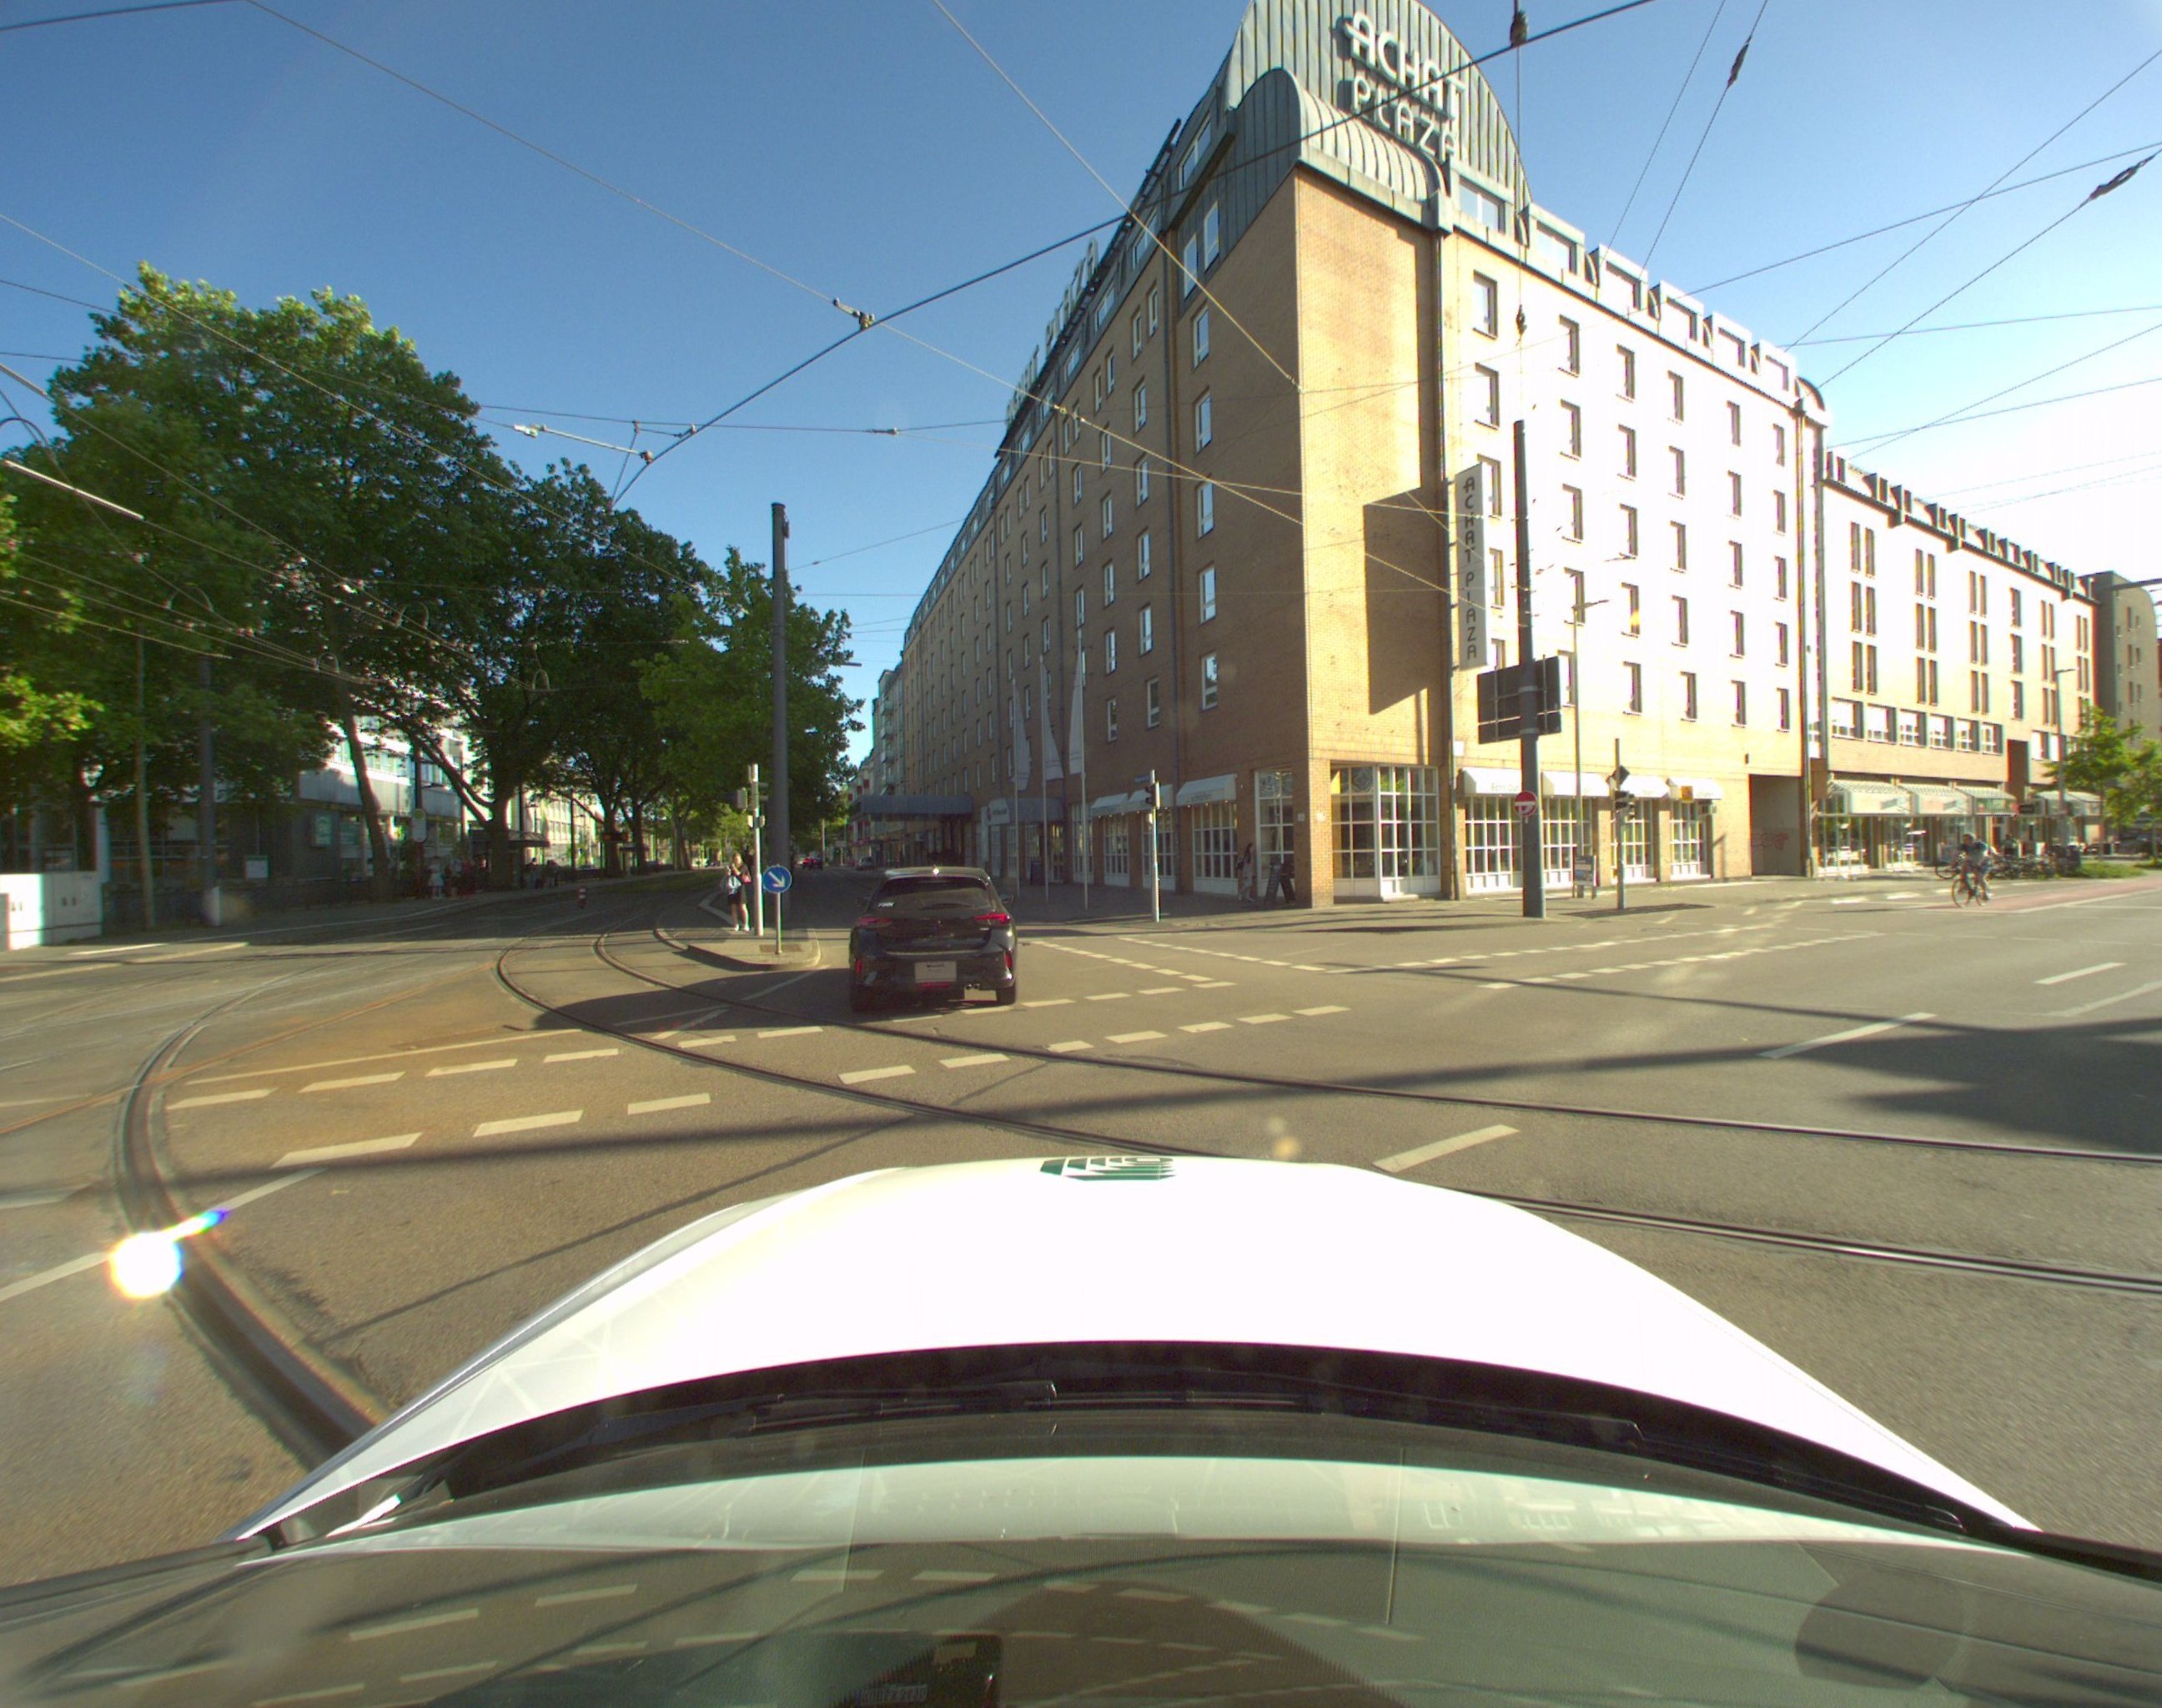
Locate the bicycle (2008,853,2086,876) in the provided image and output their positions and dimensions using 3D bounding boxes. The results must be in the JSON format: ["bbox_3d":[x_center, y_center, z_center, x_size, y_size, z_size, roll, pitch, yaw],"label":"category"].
[{"bbox_3d":[39.769,0.421,33.548,0.482,0.921,2.028,-1,0,-17],"label":"bicycle"}]

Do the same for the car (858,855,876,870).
[{"bbox_3d":[-24.058,0.952,91.427,1.677,1.652,3.667,-1,0,-19],"label":"car"}]

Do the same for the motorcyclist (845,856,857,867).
[{"bbox_3d":[-34.710,1.137,122.759,1.221,1.698,1.317,-1,0,40],"label":"motorcyclist"}]

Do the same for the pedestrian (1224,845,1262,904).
[{"bbox_3d":[4.651,0.577,23.387,0.743,1.666,0.746,-1,0,-29],"label":"pedestrian"}]

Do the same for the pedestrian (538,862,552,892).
[{"bbox_3d":[-28.863,1.241,43.866,0.502,1.573,0.491,-1,1,-16],"label":"pedestrian"}]

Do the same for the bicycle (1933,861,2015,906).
[{"bbox_3d":[22.060,0.702,20.104,2.516,0.991,0.804,-1,-1,-30],"label":"bicycle"}]

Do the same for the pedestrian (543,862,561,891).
[{"bbox_3d":[-28.883,1.230,44.455,0.563,1.573,0.637,0,1,-8],"label":"pedestrian"}]

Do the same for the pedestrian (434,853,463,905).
[{"bbox_3d":[-22.976,0.891,29.594,0.637,1.829,0.739,-1,0,-25],"label":"pedestrian"}]

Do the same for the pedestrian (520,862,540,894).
[{"bbox_3d":[-28.189,1.212,41.667,0.480,1.573,0.676,0,1,23],"label":"pedestrian"}]

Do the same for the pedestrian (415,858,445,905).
[{"bbox_3d":[-25.701,1.074,32.166,0.589,1.800,0.743,-1,0,-4],"label":"pedestrian"}]

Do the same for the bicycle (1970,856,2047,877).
[{"bbox_3d":[37.353,0.501,32.831,0.482,0.845,2.028,-1,0,-17],"label":"bicycle"}]

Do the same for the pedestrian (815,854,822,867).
[{"bbox_3d":[-59.168,1.551,183.492,0.908,2.871,1.158,-2,0,37],"label":"pedestrian"}]

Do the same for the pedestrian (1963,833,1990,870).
[{"bbox_3d":[43.002,-0.131,39.112,0.566,1.764,0.713,-1,-1,-25],"label":"pedestrian"}]

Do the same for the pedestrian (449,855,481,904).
[{"bbox_3d":[-23.045,0.949,30.472,0.587,1.829,0.747,-1,0,12],"label":"pedestrian"}]

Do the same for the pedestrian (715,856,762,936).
[{"bbox_3d":[-7.447,0.891,17.740,0.714,1.680,0.828,-2,0,-11],"label":"pedestrian"}]

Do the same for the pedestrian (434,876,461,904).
[{"bbox_3d":[-27.492,1.563,35.355,0.589,1.164,0.743,-1,0,-4],"label":"pedestrian"}]

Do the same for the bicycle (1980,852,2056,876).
[{"bbox_3d":[38.534,0.418,33.535,0.482,0.921,2.028,-1,0,-17],"label":"bicycle"}]

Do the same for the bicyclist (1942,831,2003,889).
[{"bbox_3d":[21.947,0.136,20.055,0.928,1.377,0.805,-1,-1,-29],"label":"bicyclist"}]

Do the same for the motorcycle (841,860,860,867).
[{"bbox_3d":[-34.790,1.470,122.834,3.058,1.058,1.317,0,0,40],"label":"motorcycle"}]

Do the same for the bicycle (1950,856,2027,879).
[{"bbox_3d":[35.905,0.534,32.265,0.482,0.845,2.028,-1,0,-17],"label":"bicycle"}]

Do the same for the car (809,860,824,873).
[{"bbox_3d":[-32.327,1.494,99.495,1.619,1.502,3.665,-1,0,-20],"label":"car"}]

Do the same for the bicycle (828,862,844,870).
[{"bbox_3d":[-40.192,2.001,133.616,2.362,1.234,0.679,-1,0,-18],"label":"bicycle"}]

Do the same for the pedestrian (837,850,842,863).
[{"bbox_3d":[-52.752,0.477,177.954,0.920,2.871,1.142,-1,0,-21],"label":"pedestrian"}]

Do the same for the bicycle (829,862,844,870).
[{"bbox_3d":[-40.697,2.044,135.339,2.362,1.234,0.679,-1,0,-18],"label":"bicycle"}]

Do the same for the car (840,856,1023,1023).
[{"bbox_3d":[-1.642,0.805,9.560,1.671,1.501,3.681,-2,0,-7],"label":"car"}]

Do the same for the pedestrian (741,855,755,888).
[{"bbox_3d":[-17.456,0.894,42.701,0.606,1.680,0.483,-2,0,-20],"label":"pedestrian"}]
